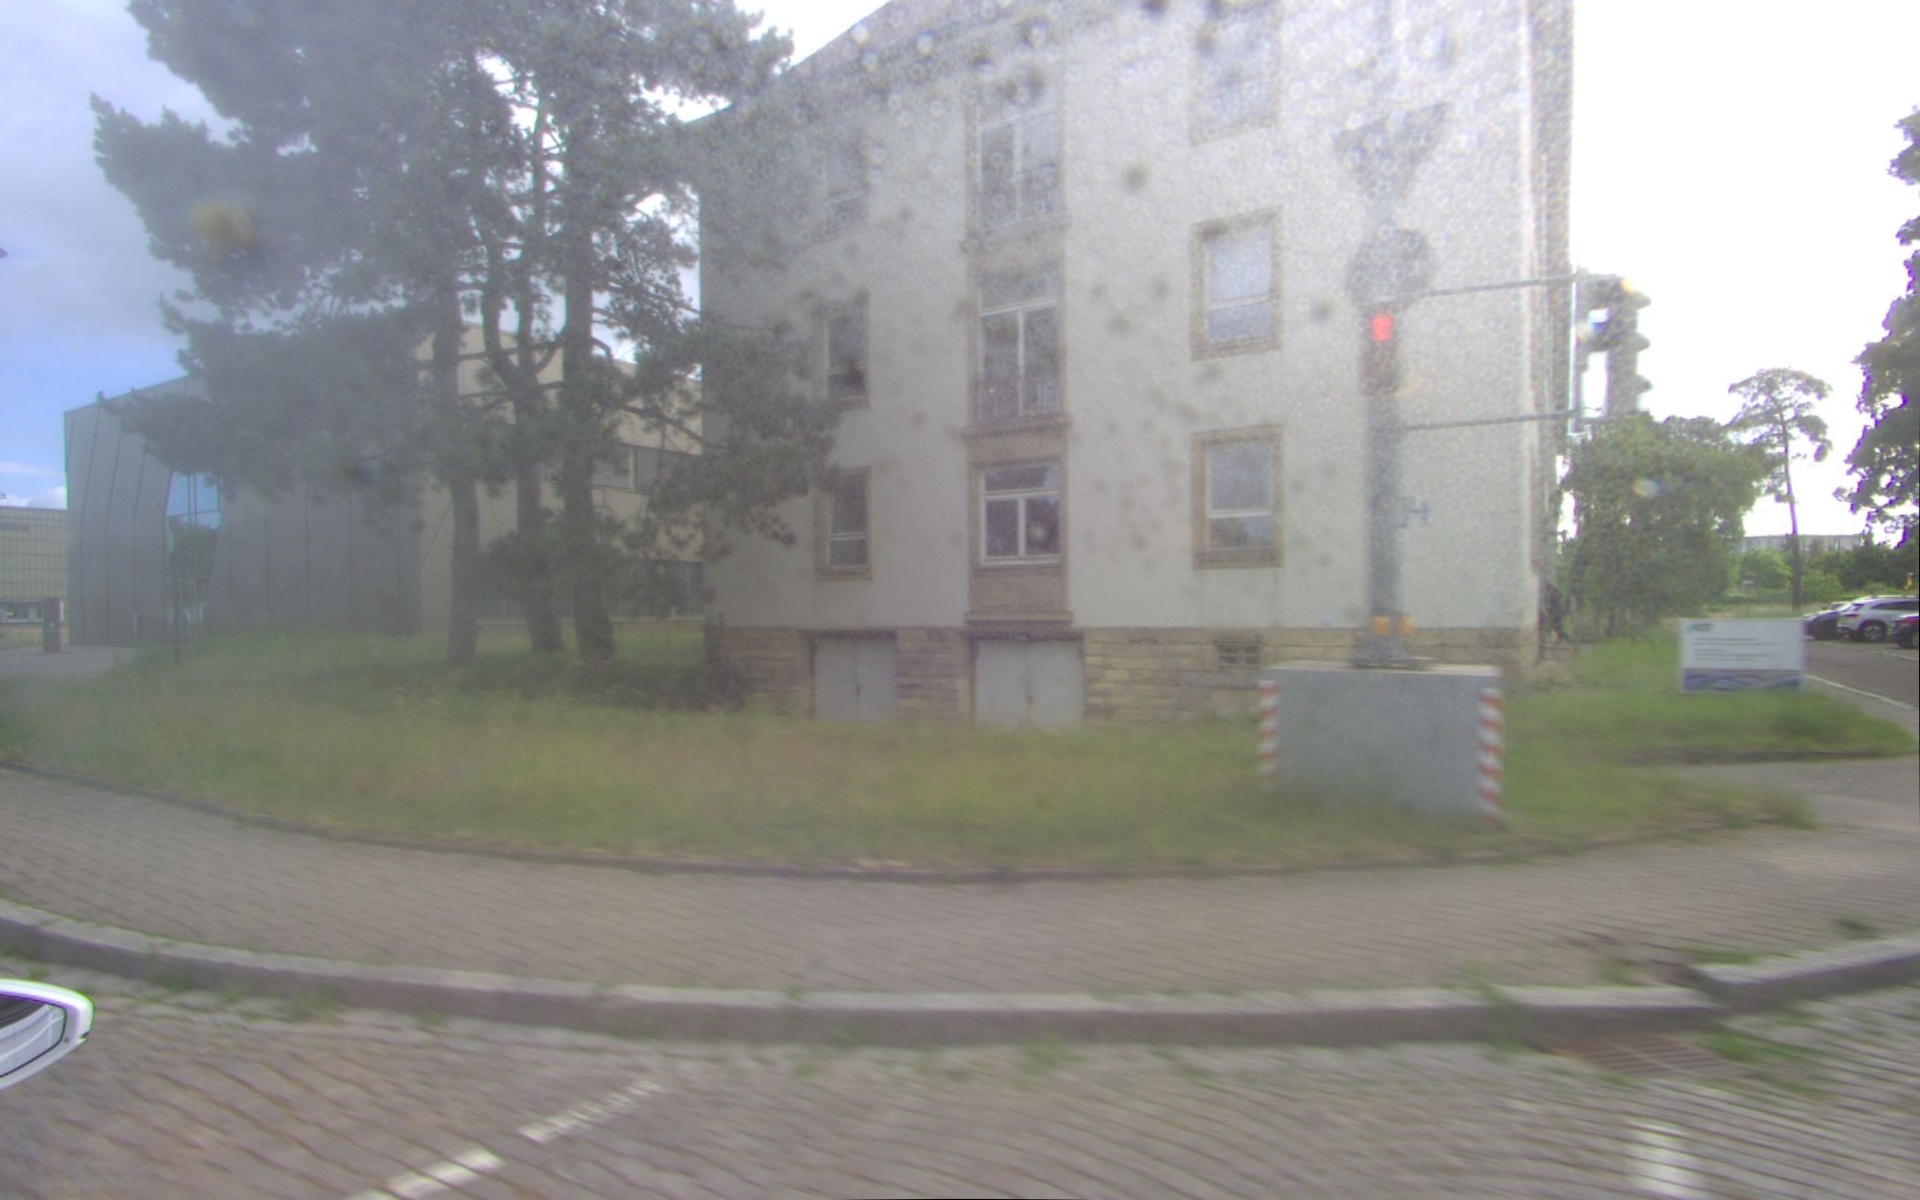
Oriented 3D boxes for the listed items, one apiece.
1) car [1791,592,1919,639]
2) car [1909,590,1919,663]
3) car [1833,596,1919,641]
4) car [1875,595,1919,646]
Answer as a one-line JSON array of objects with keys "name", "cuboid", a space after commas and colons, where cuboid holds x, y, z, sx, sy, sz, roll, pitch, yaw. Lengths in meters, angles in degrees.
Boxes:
[{"name": "car", "cuboid": [36.211, 0.622, 39.819, 4.629, 1.796, 1.989, -1, 0, 32]}, {"name": "car", "cuboid": [27.462, 0.682, 25.127, 4.774, 1.935, 2.237, 0, 0, 16]}, {"name": "car", "cuboid": [35.163, 0.670, 36.715, 4.452, 1.639, 1.989, -1, 0, 32]}, {"name": "car", "cuboid": [32.123, 0.645, 31.982, 3.943, 1.639, 1.989, -1, 0, 32]}]
